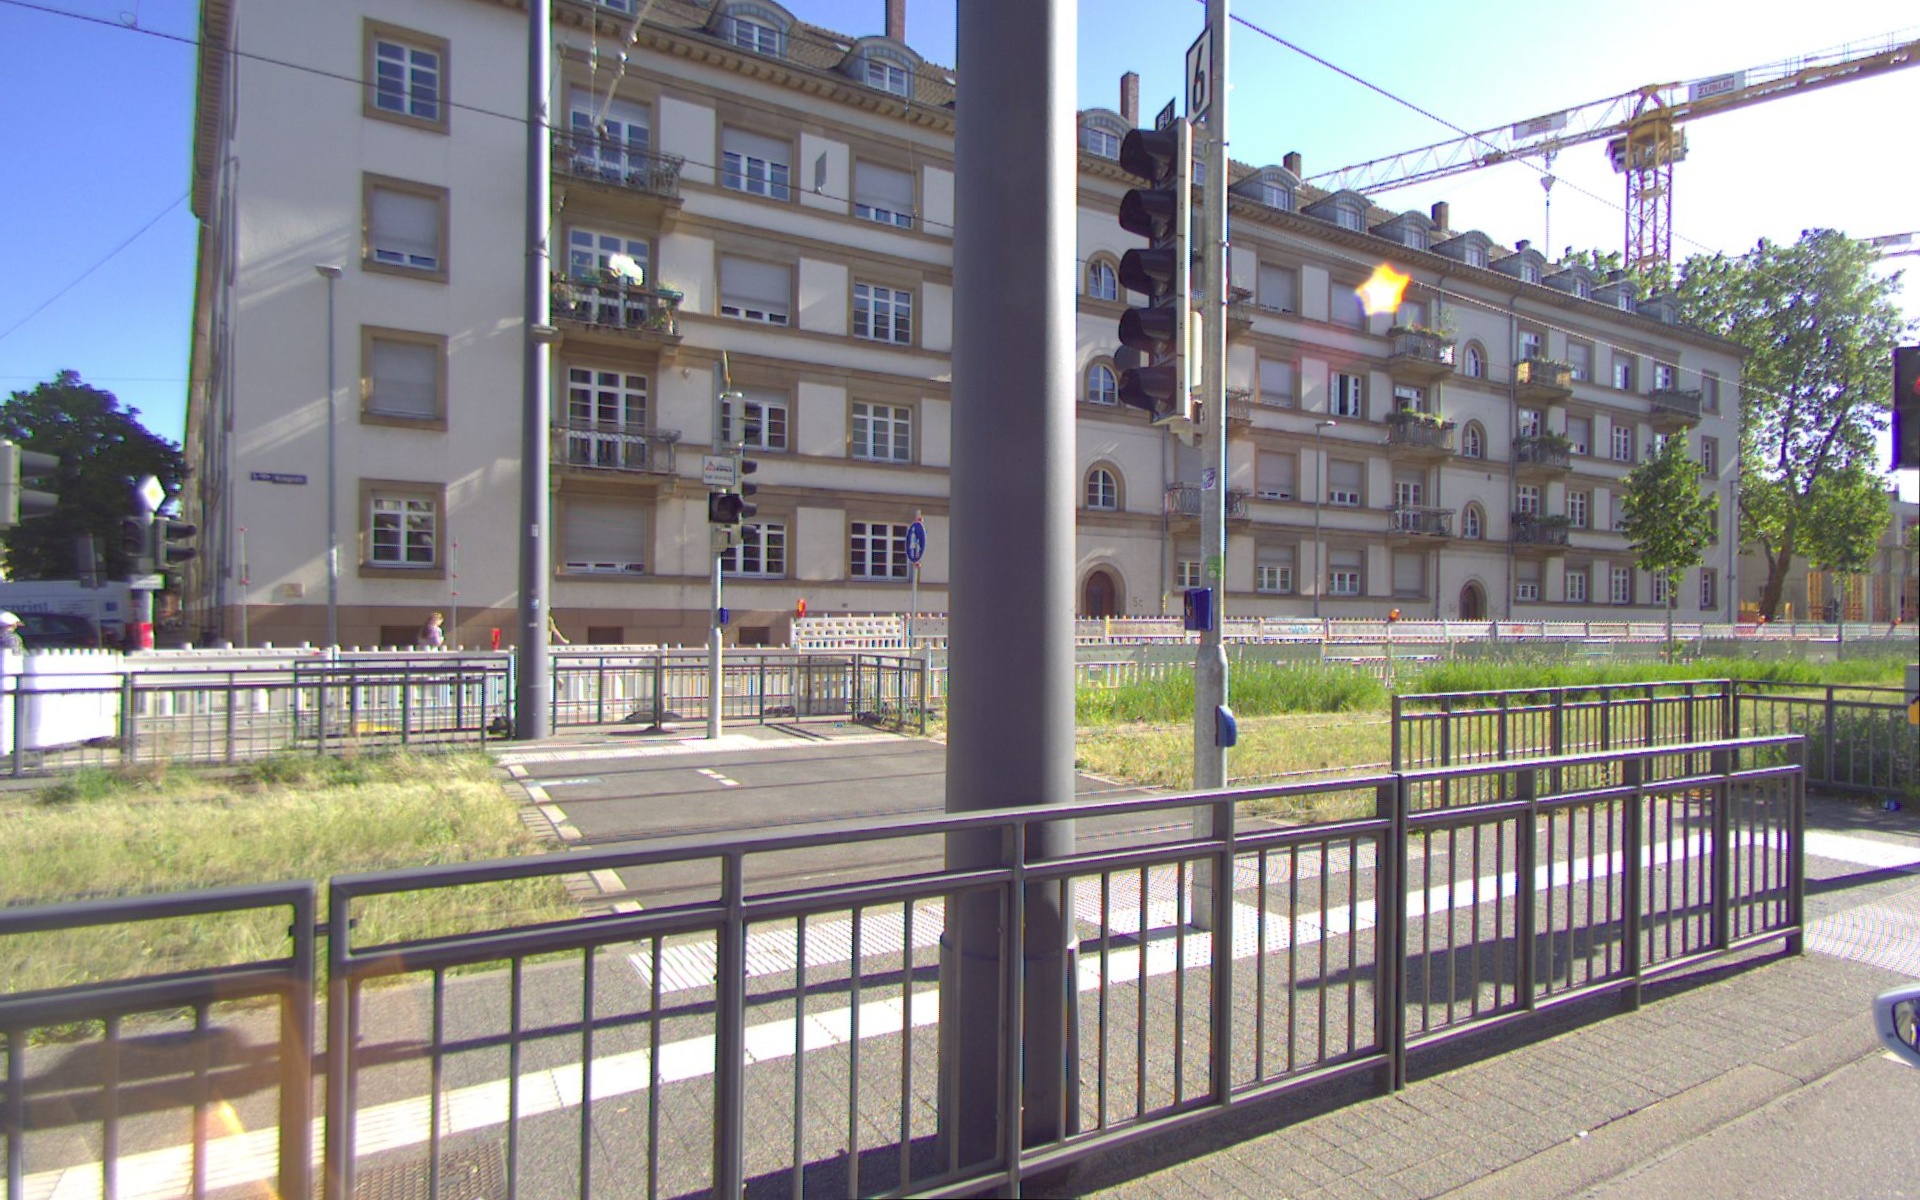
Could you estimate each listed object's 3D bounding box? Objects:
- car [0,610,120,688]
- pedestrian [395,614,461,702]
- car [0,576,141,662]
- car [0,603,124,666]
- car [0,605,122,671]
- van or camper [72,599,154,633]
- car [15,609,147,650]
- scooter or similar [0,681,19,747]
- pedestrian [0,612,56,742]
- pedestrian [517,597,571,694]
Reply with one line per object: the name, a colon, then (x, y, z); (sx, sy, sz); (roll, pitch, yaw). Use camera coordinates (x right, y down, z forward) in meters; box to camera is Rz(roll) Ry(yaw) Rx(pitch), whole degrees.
car: (-21.588, 1.074, 22.561); (3.959, 1.662, 1.851); (2, 0, -34)
pedestrian: (-9.669, 1.035, 18.251); (1.009, 1.538, 0.783); (2, 0, -30)
car: (-28.156, 0.549, 29.965); (5.710, 2.487, 1.977); (2, 0, -40)
car: (-26.301, 0.959, 28.407); (3.965, 1.662, 1.849); (2, 0, -38)
car: (-24.921, 0.993, 26.698); (3.965, 1.662, 1.849); (2, 0, -38)
van or camper: (-59.287, 1.107, 70.446); (4.311, 2.244, 1.930); (2, 0, -40)
car: (-36.289, 1.224, 41.601); (3.965, 1.576, 1.848); (2, 0, -39)
scooter or similar: (-11.379, 1.316, 11.483); (0.700, 0.729, 0.605); (1, -1, -19)
pedestrian: (-11.614, 0.912, 12.174); (0.700, 1.524, 0.803); (1, -1, -19)
pedestrian: (-8.327, 0.892, 20.100); (0.861, 1.888, 0.763); (2, 0, -30)
